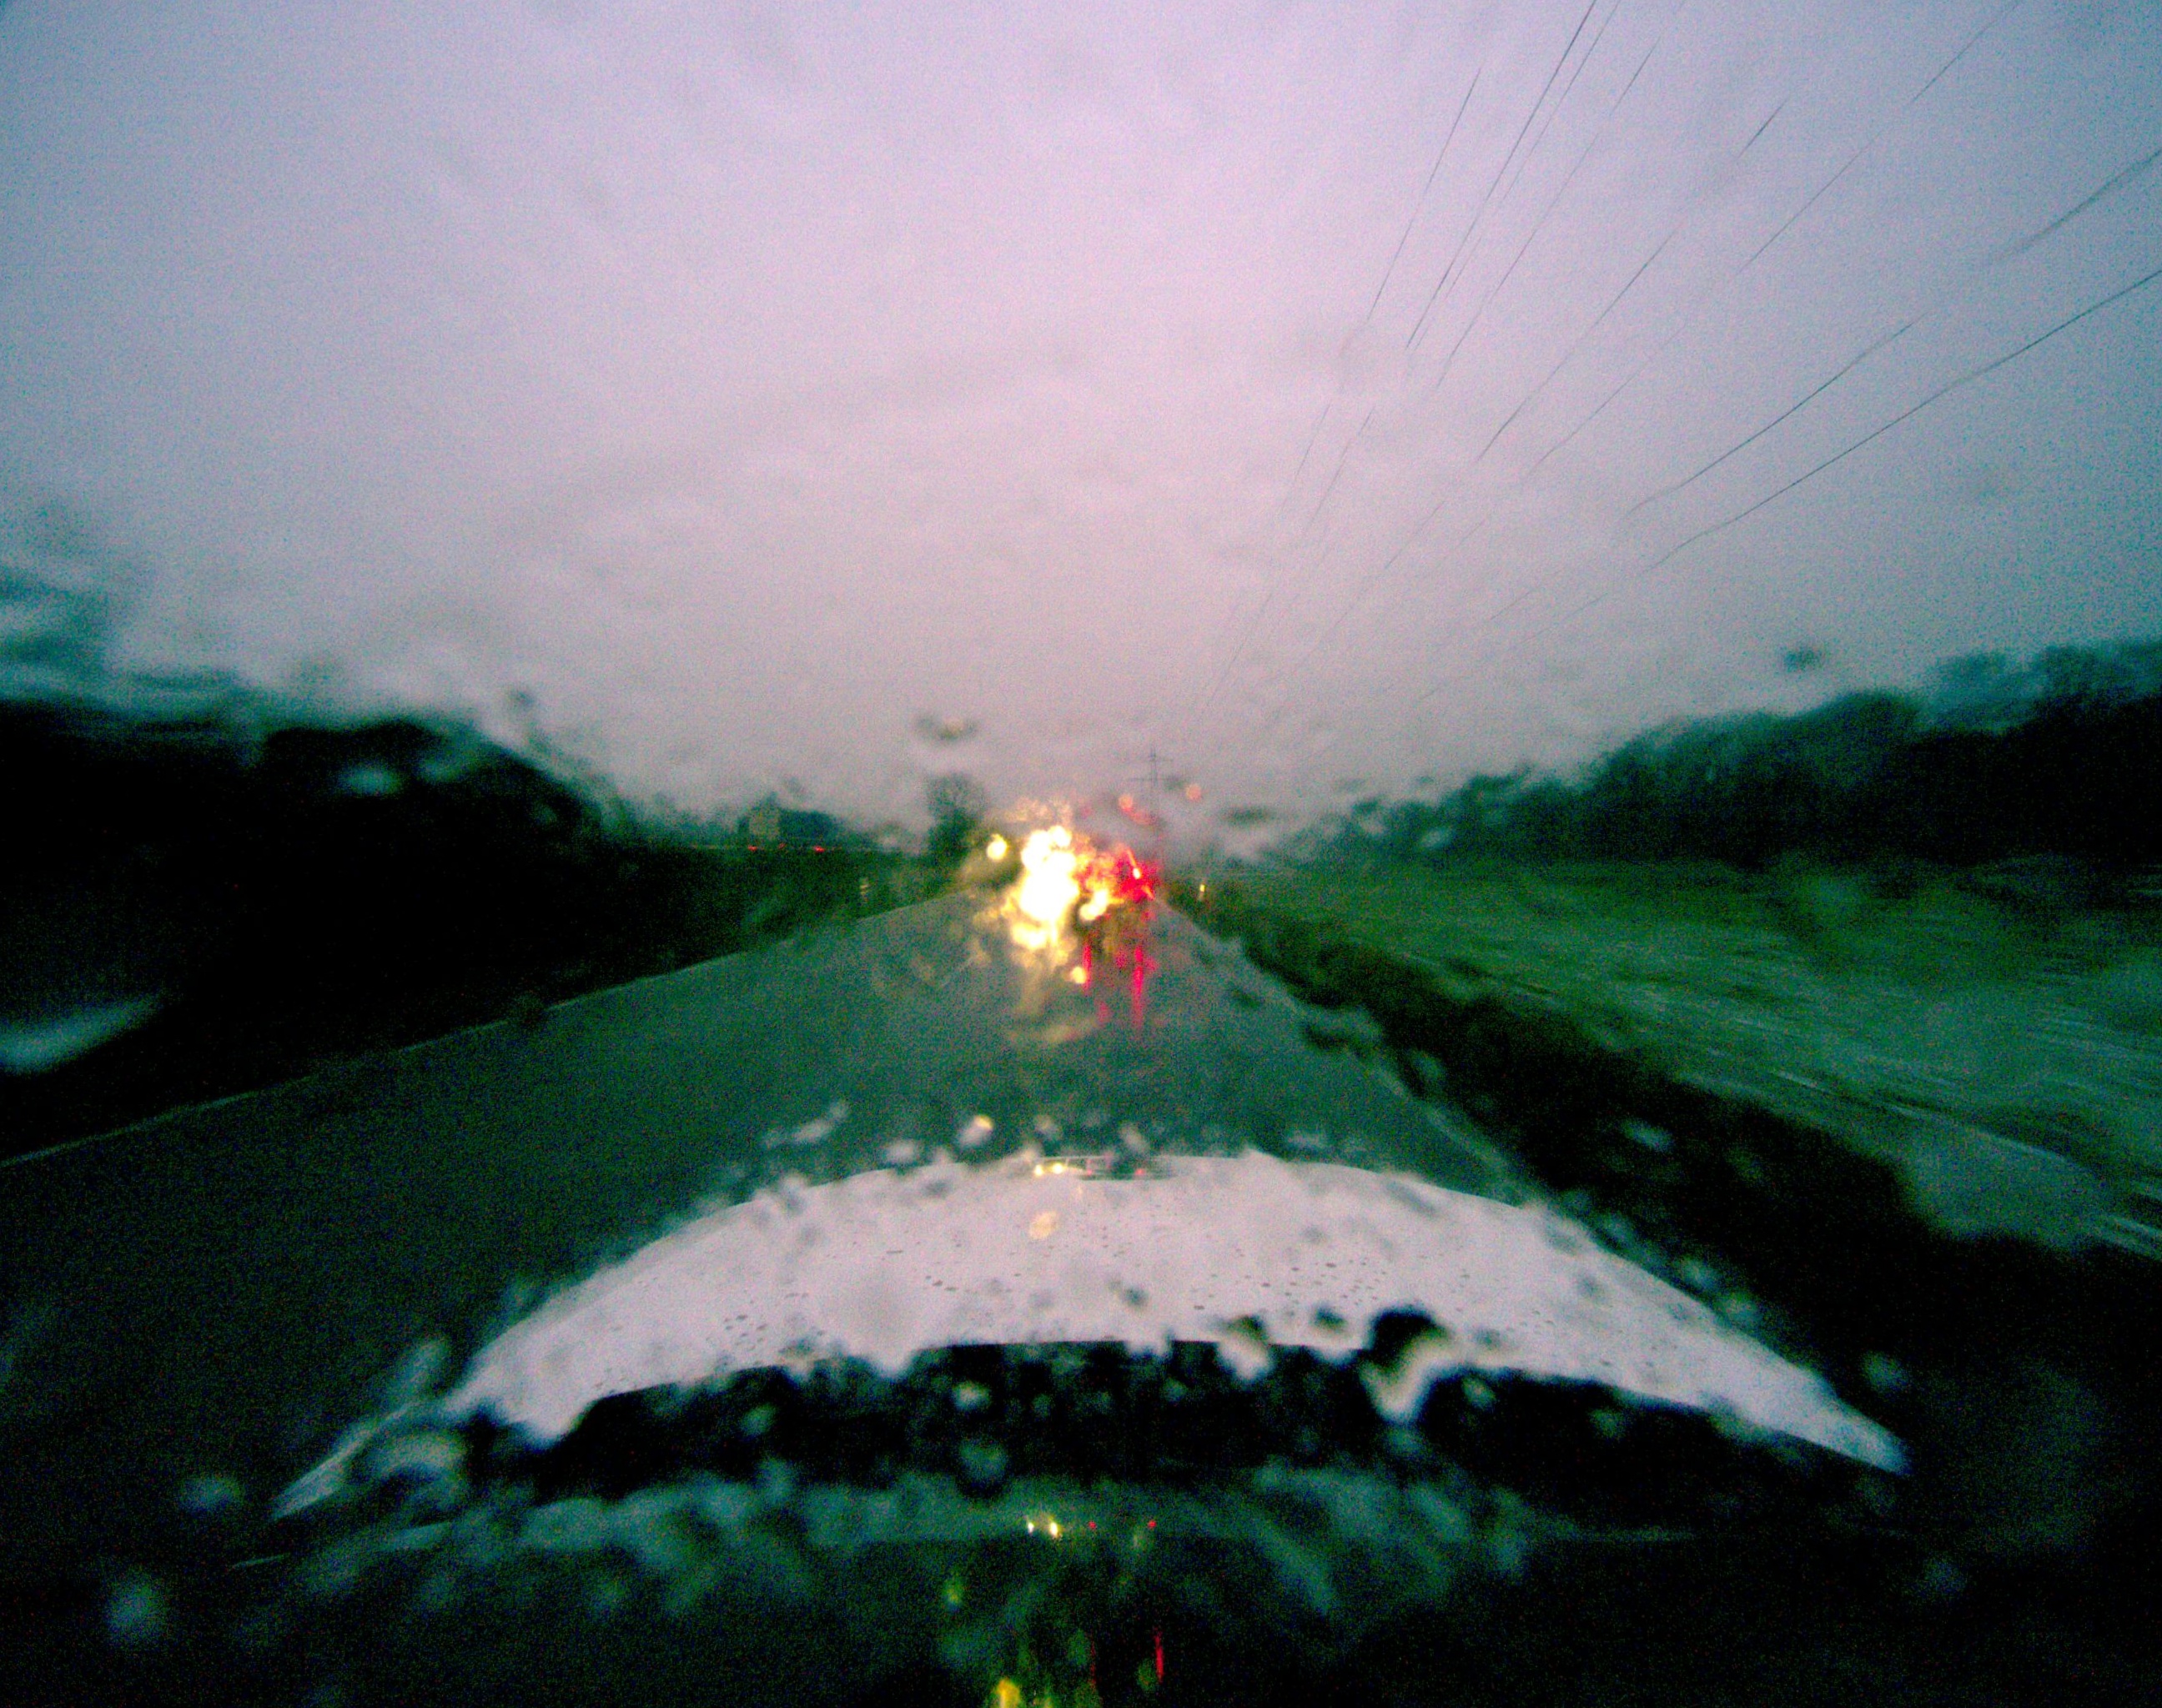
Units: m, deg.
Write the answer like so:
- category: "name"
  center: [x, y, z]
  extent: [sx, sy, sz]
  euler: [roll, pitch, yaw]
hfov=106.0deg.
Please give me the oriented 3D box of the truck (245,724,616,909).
- category: "truck"
  center: [-26.690, -1.260, 35.674]
  extent: [3.752, 6.288, 15.733]
  euler: [-1, 0, -1]

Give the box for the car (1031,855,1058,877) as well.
- category: "car"
  center: [-2.746, 0.918, 62.665]
  extent: [1.779, 1.591, 4.487]
  euler: [-1, 0, 1]

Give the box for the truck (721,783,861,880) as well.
- category: "truck"
  center: [-28.623, -1.674, 85.367]
  extent: [7.546, 7.713, 39.999]
  euler: [0, 0, -11]

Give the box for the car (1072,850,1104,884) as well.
- category: "car"
  center: [0.378, 0.766, 49.405]
  extent: [1.847, 2.014, 3.998]
  euler: [-1, 0, -1]

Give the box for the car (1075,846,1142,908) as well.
- category: "car"
  center: [0.610, 0.528, 20.068]
  extent: [1.496, 1.398, 3.198]
  euler: [-1, 0, -1]
